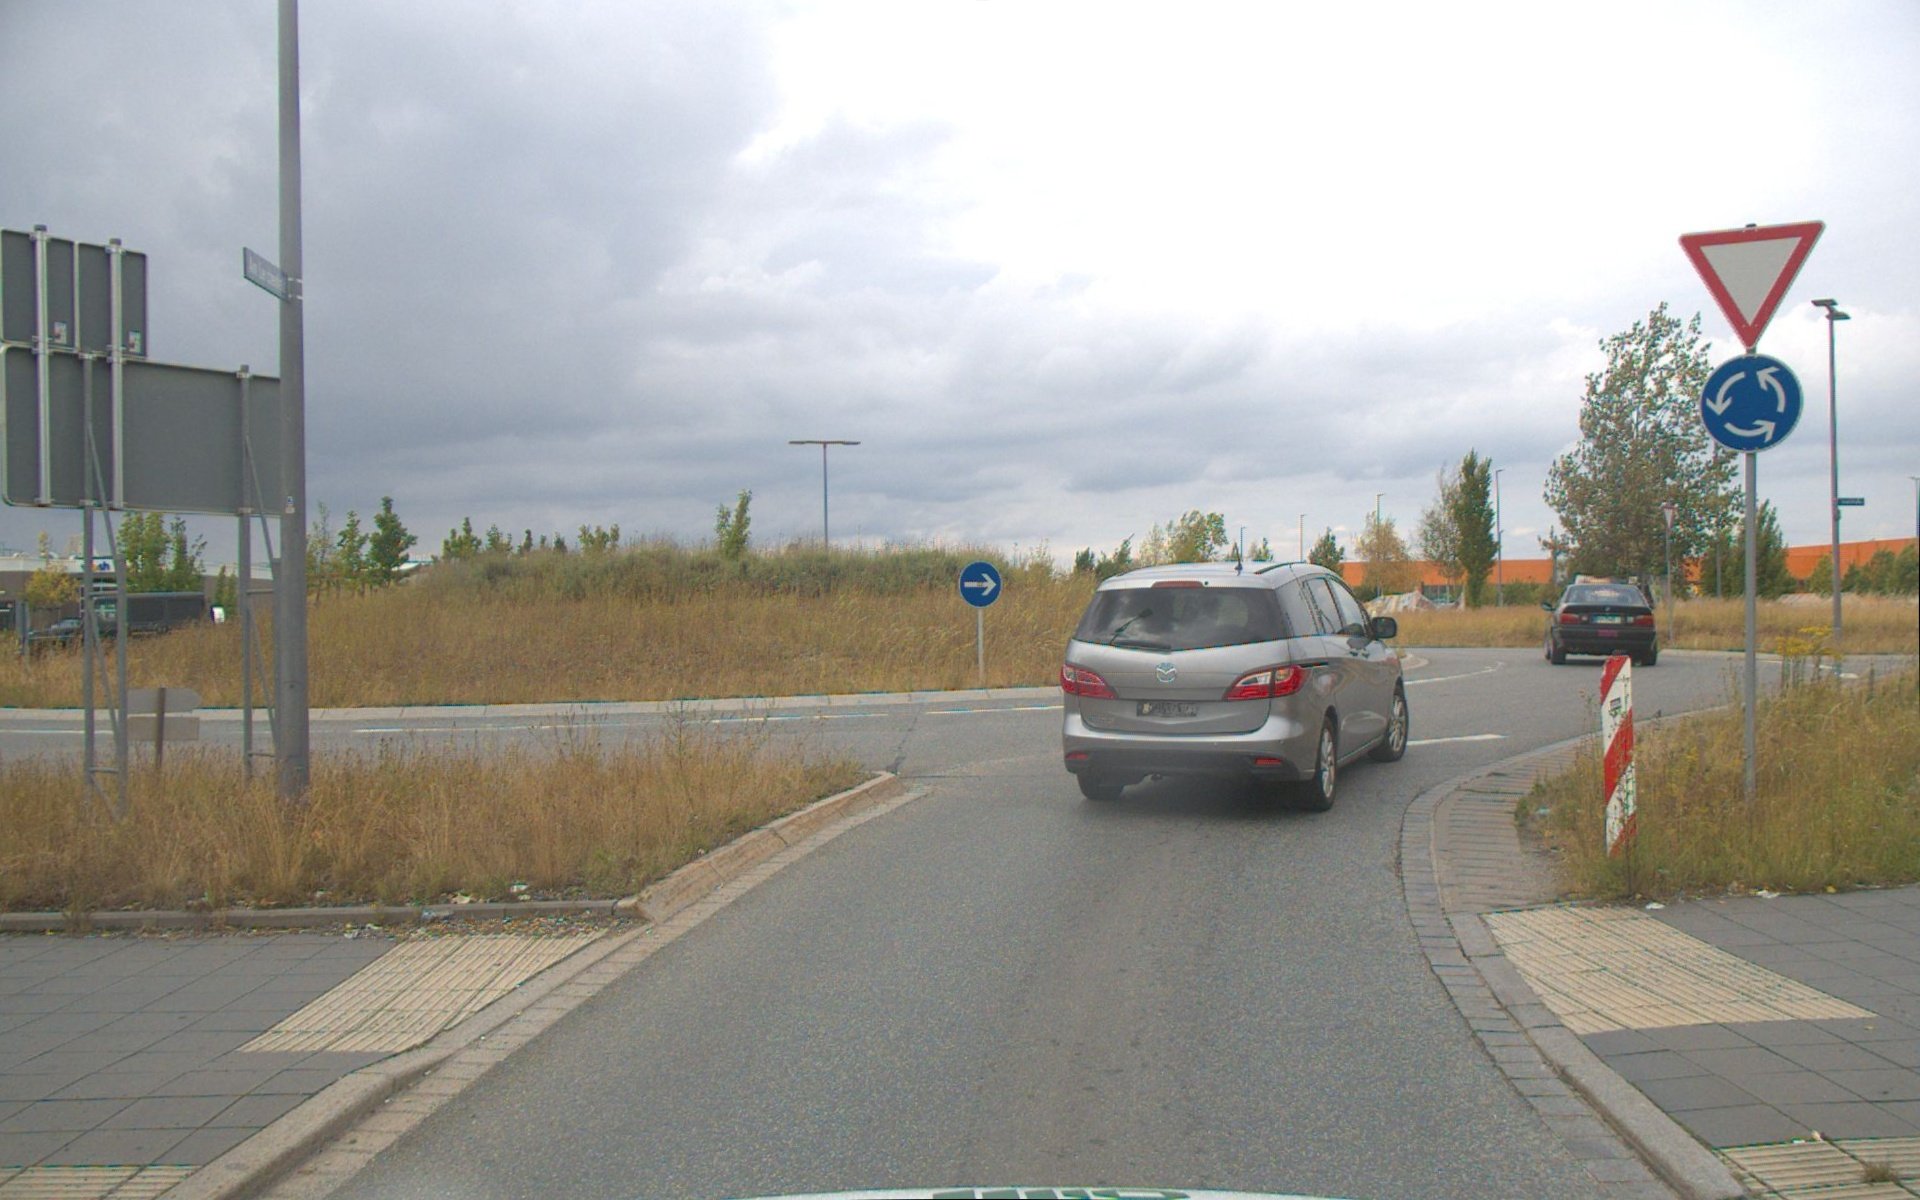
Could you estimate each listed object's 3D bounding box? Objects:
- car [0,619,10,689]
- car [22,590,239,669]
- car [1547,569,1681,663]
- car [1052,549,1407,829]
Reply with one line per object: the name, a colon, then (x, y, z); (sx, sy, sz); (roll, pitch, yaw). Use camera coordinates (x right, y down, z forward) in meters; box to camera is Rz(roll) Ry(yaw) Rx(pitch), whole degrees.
car: (-20.536, 1.022, 31.759); (1.686, 1.433, 4.644); (1, -2, 3)
car: (-20.026, 0.745, 39.998); (4.580, 1.784, 1.710); (2, -2, -31)
car: (11.187, 0.212, 28.166); (1.704, 1.428, 3.992); (0, 2, 28)
car: (2.129, 0.466, 12.085); (1.702, 1.626, 3.998); (1, 3, 22)
